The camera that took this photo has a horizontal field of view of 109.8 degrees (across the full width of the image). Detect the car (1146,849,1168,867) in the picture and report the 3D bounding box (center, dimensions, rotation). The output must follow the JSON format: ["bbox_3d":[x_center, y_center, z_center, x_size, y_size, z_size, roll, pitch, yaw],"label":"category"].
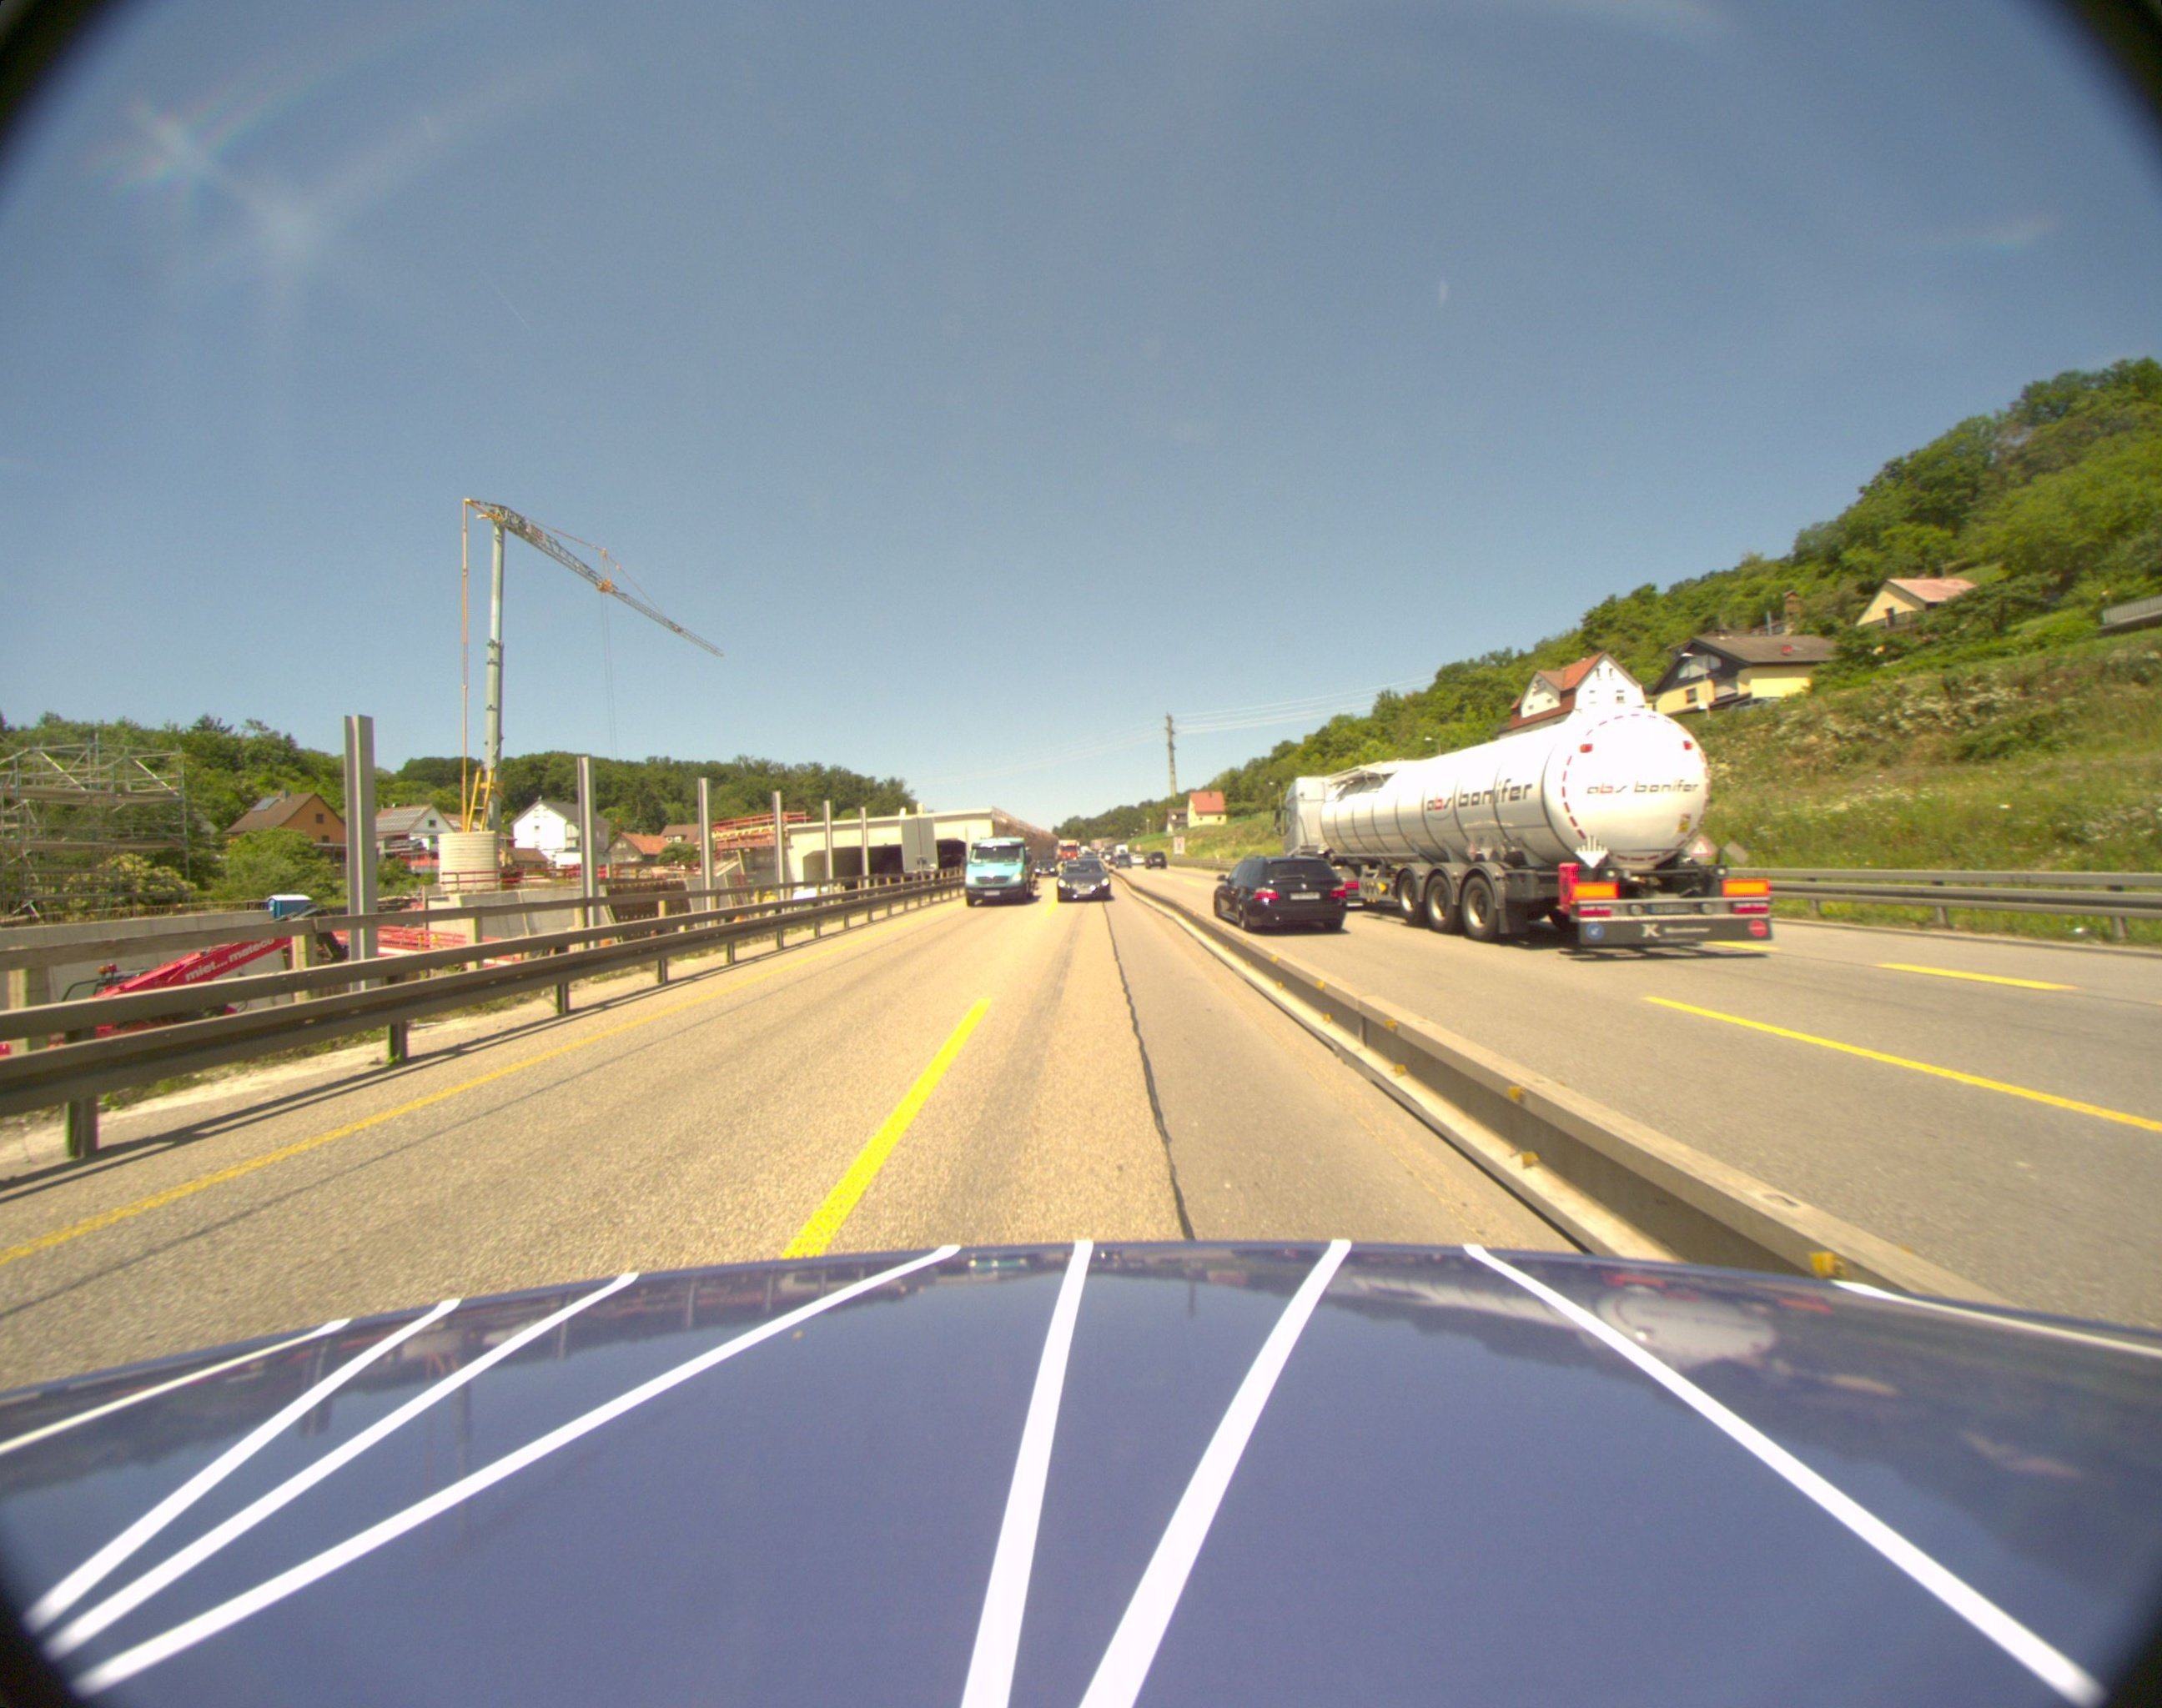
[{"bbox_3d":[7.603,0.363,76.511,1.832,1.755,4.496,-1,0,1],"label":"car"}]

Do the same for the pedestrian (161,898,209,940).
[{"bbox_3d":[-44.807,3.241,38.009,1.140,1.976,0.972,-2,2,4],"label":"pedestrian"}]

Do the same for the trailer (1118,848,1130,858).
[{"bbox_3d":[9.179,-0.220,162.030,2.106,1.883,5.141,-2,0,1],"label":"trailer"}]

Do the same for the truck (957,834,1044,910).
[{"bbox_3d":[-2.755,0.501,27.934,2.139,2.344,7.432,-2,1,1],"label":"truck"}]

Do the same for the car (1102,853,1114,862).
[{"bbox_3d":[4.658,0.592,132.205,1.811,1.630,4.172,-2,0,0],"label":"car"}]

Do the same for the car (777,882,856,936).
[{"bbox_3d":[-17.258,3.512,50.120,2.149,2.840,7.023,-2,1,4],"label":"car"}]

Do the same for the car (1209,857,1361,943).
[{"bbox_3d":[3.898,0.809,15.400,1.899,1.406,4.679,-2,0,1],"label":"car"}]

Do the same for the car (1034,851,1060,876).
[{"bbox_3d":[-2.766,0.764,62.284,1.885,1.805,4.249,-2,1,0],"label":"car"}]

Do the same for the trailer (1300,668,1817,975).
[{"bbox_3d":[7.417,-0.395,14.990,2.723,3.573,11.794,-2,0,0],"label":"trailer"}]

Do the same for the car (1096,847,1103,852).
[{"bbox_3d":[5.586,-1.347,232.432,1.847,1.467,4.834,-2,0,0],"label":"car"}]

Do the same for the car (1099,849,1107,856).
[{"bbox_3d":[5.709,-0.460,198.725,1.842,1.817,5.040,-2,0,0],"label":"car"}]

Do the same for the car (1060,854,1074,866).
[{"bbox_3d":[-2.067,0.859,114.081,1.883,1.532,4.280,-2,1,0],"label":"car"}]

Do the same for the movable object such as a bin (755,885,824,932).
[{"bbox_3d":[-20.008,3.653,52.458,2.149,2.661,5.500,-2,1,5],"label":"movable object such as a bin"}]

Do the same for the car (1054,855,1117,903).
[{"bbox_3d":[0.206,0.834,27.157,1.998,1.441,4.601,-2,1,1],"label":"car"}]

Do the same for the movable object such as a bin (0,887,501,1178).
[{"bbox_3d":[-19.845,3.538,18.834,3.235,4.716,9.653,-2,1,0],"label":"movable object such as a bin"}]

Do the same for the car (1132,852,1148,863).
[{"bbox_3d":[8.498,0.491,109.764,1.808,1.488,4.599,-2,0,0],"label":"car"}]

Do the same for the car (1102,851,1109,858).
[{"bbox_3d":[5.422,0.028,170.367,1.487,1.496,2.805,-2,0,1],"label":"car"}]

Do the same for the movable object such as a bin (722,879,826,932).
[{"bbox_3d":[-24.935,4.190,61.745,7.141,2.883,3.503,-11,-2,23],"label":"movable object such as a bin"}]

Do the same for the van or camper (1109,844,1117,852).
[{"bbox_3d":[9.738,-1.810,234.103,2.145,2.558,6.564,-3,0,1],"label":"van or camper"}]

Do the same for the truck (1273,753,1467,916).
[{"bbox_3d":[7.454,-0.452,20.624,2.786,3.651,6.277,-2,0,0],"label":"truck"}]

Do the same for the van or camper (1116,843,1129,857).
[{"bbox_3d":[9.141,-0.838,167.896,2.297,3.048,6.923,-2,0,1],"label":"van or camper"}]

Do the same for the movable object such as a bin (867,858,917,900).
[{"bbox_3d":[-20.651,2.596,83.431,2.961,4.040,9.153,-2,1,0],"label":"movable object such as a bin"}]

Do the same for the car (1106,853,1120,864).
[{"bbox_3d":[4.772,0.675,113.868,1.802,1.458,4.355,-1,0,1],"label":"car"}]

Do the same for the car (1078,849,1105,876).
[{"bbox_3d":[0.837,0.599,57.479,1.884,1.805,4.250,-2,1,2],"label":"car"}]

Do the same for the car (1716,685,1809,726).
[{"bbox_3d":[42.416,-9.219,47.418,1.999,1.784,3.997,-2,1,-6],"label":"car"}]

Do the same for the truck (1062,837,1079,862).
[{"bbox_3d":[-1.771,-0.870,134.723,2.750,4.222,9.093,-2,1,0],"label":"truck"}]

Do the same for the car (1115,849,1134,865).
[{"bbox_3d":[5.034,0.368,87.978,1.850,1.767,4.882,-2,0,0],"label":"car"}]
